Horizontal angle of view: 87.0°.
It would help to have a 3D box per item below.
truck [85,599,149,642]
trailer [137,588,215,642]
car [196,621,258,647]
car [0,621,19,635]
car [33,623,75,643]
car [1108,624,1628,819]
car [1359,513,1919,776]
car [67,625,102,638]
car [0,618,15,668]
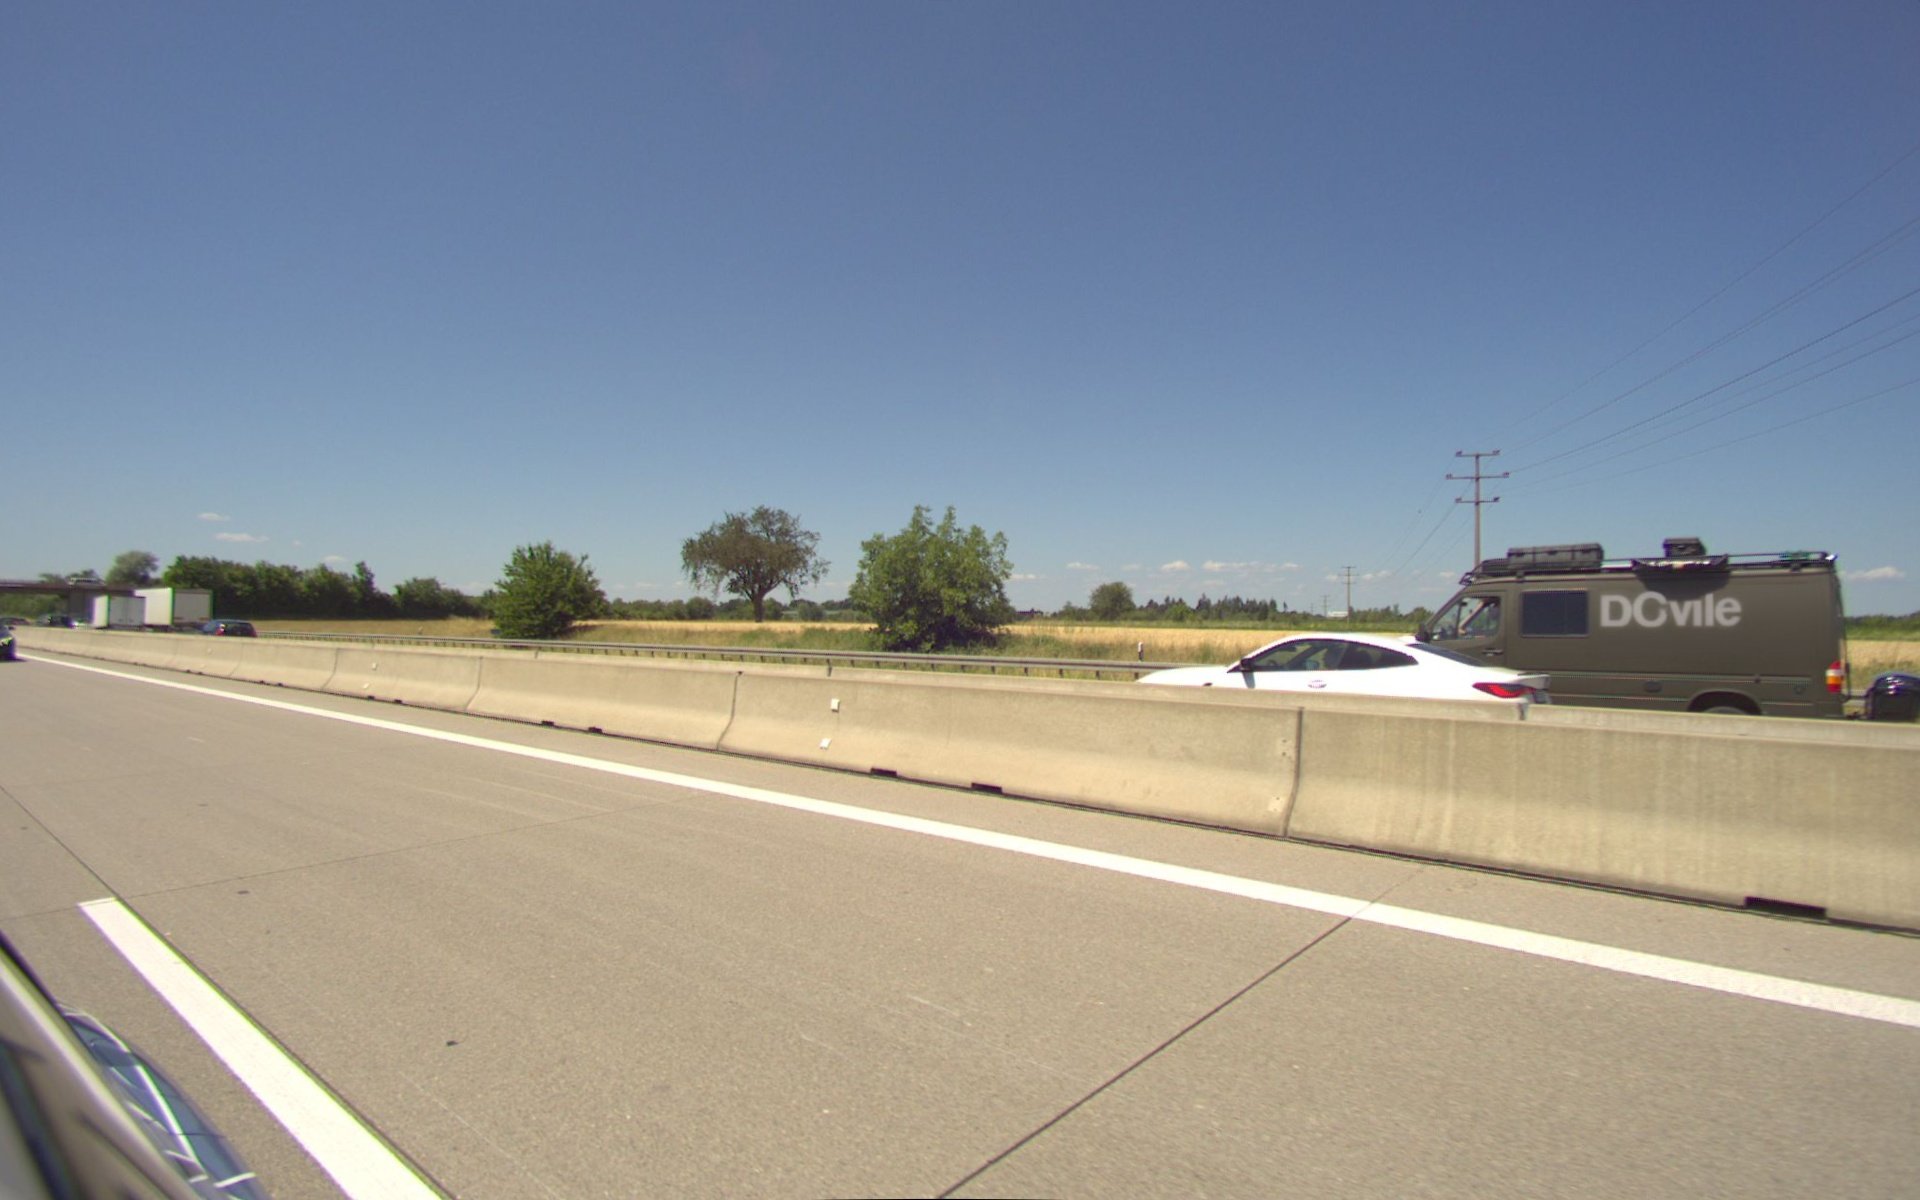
[{"bbox_3d":[-65.056,1.544,78.014,7.918,3.166,2.521,-1,-1,41],"label":"truck"},{"bbox_3d":[-64.146,1.216,82.645,12.674,4.075,2.790,-1,0,42],"label":"trailer"},{"bbox_3d":[-31.579,1.447,43.575,3.522,1.061,1.505,-1,-1,43],"label":"car"},{"bbox_3d":[-83.062,2.459,87.948,3.373,1.172,1.527,-1,0,41],"label":"car"},{"bbox_3d":[-65.649,2.354,73.324,4.492,1.361,1.826,-1,-1,42],"label":"car"},{"bbox_3d":[4.342,1.140,11.386,5.105,1.665,1.853,-1,0,41],"label":"car"},{"bbox_3d":[9.102,0.497,13.358,6.790,2.807,2.224,-1,0,42],"label":"car"},{"bbox_3d":[-76.253,2.732,88.157,4.395,1.155,1.663,-1,-2,41],"label":"car"},{"bbox_3d":[-31.338,1.310,31.571,6.342,1.482,1.973,-1,-2,40],"label":"car"}]
